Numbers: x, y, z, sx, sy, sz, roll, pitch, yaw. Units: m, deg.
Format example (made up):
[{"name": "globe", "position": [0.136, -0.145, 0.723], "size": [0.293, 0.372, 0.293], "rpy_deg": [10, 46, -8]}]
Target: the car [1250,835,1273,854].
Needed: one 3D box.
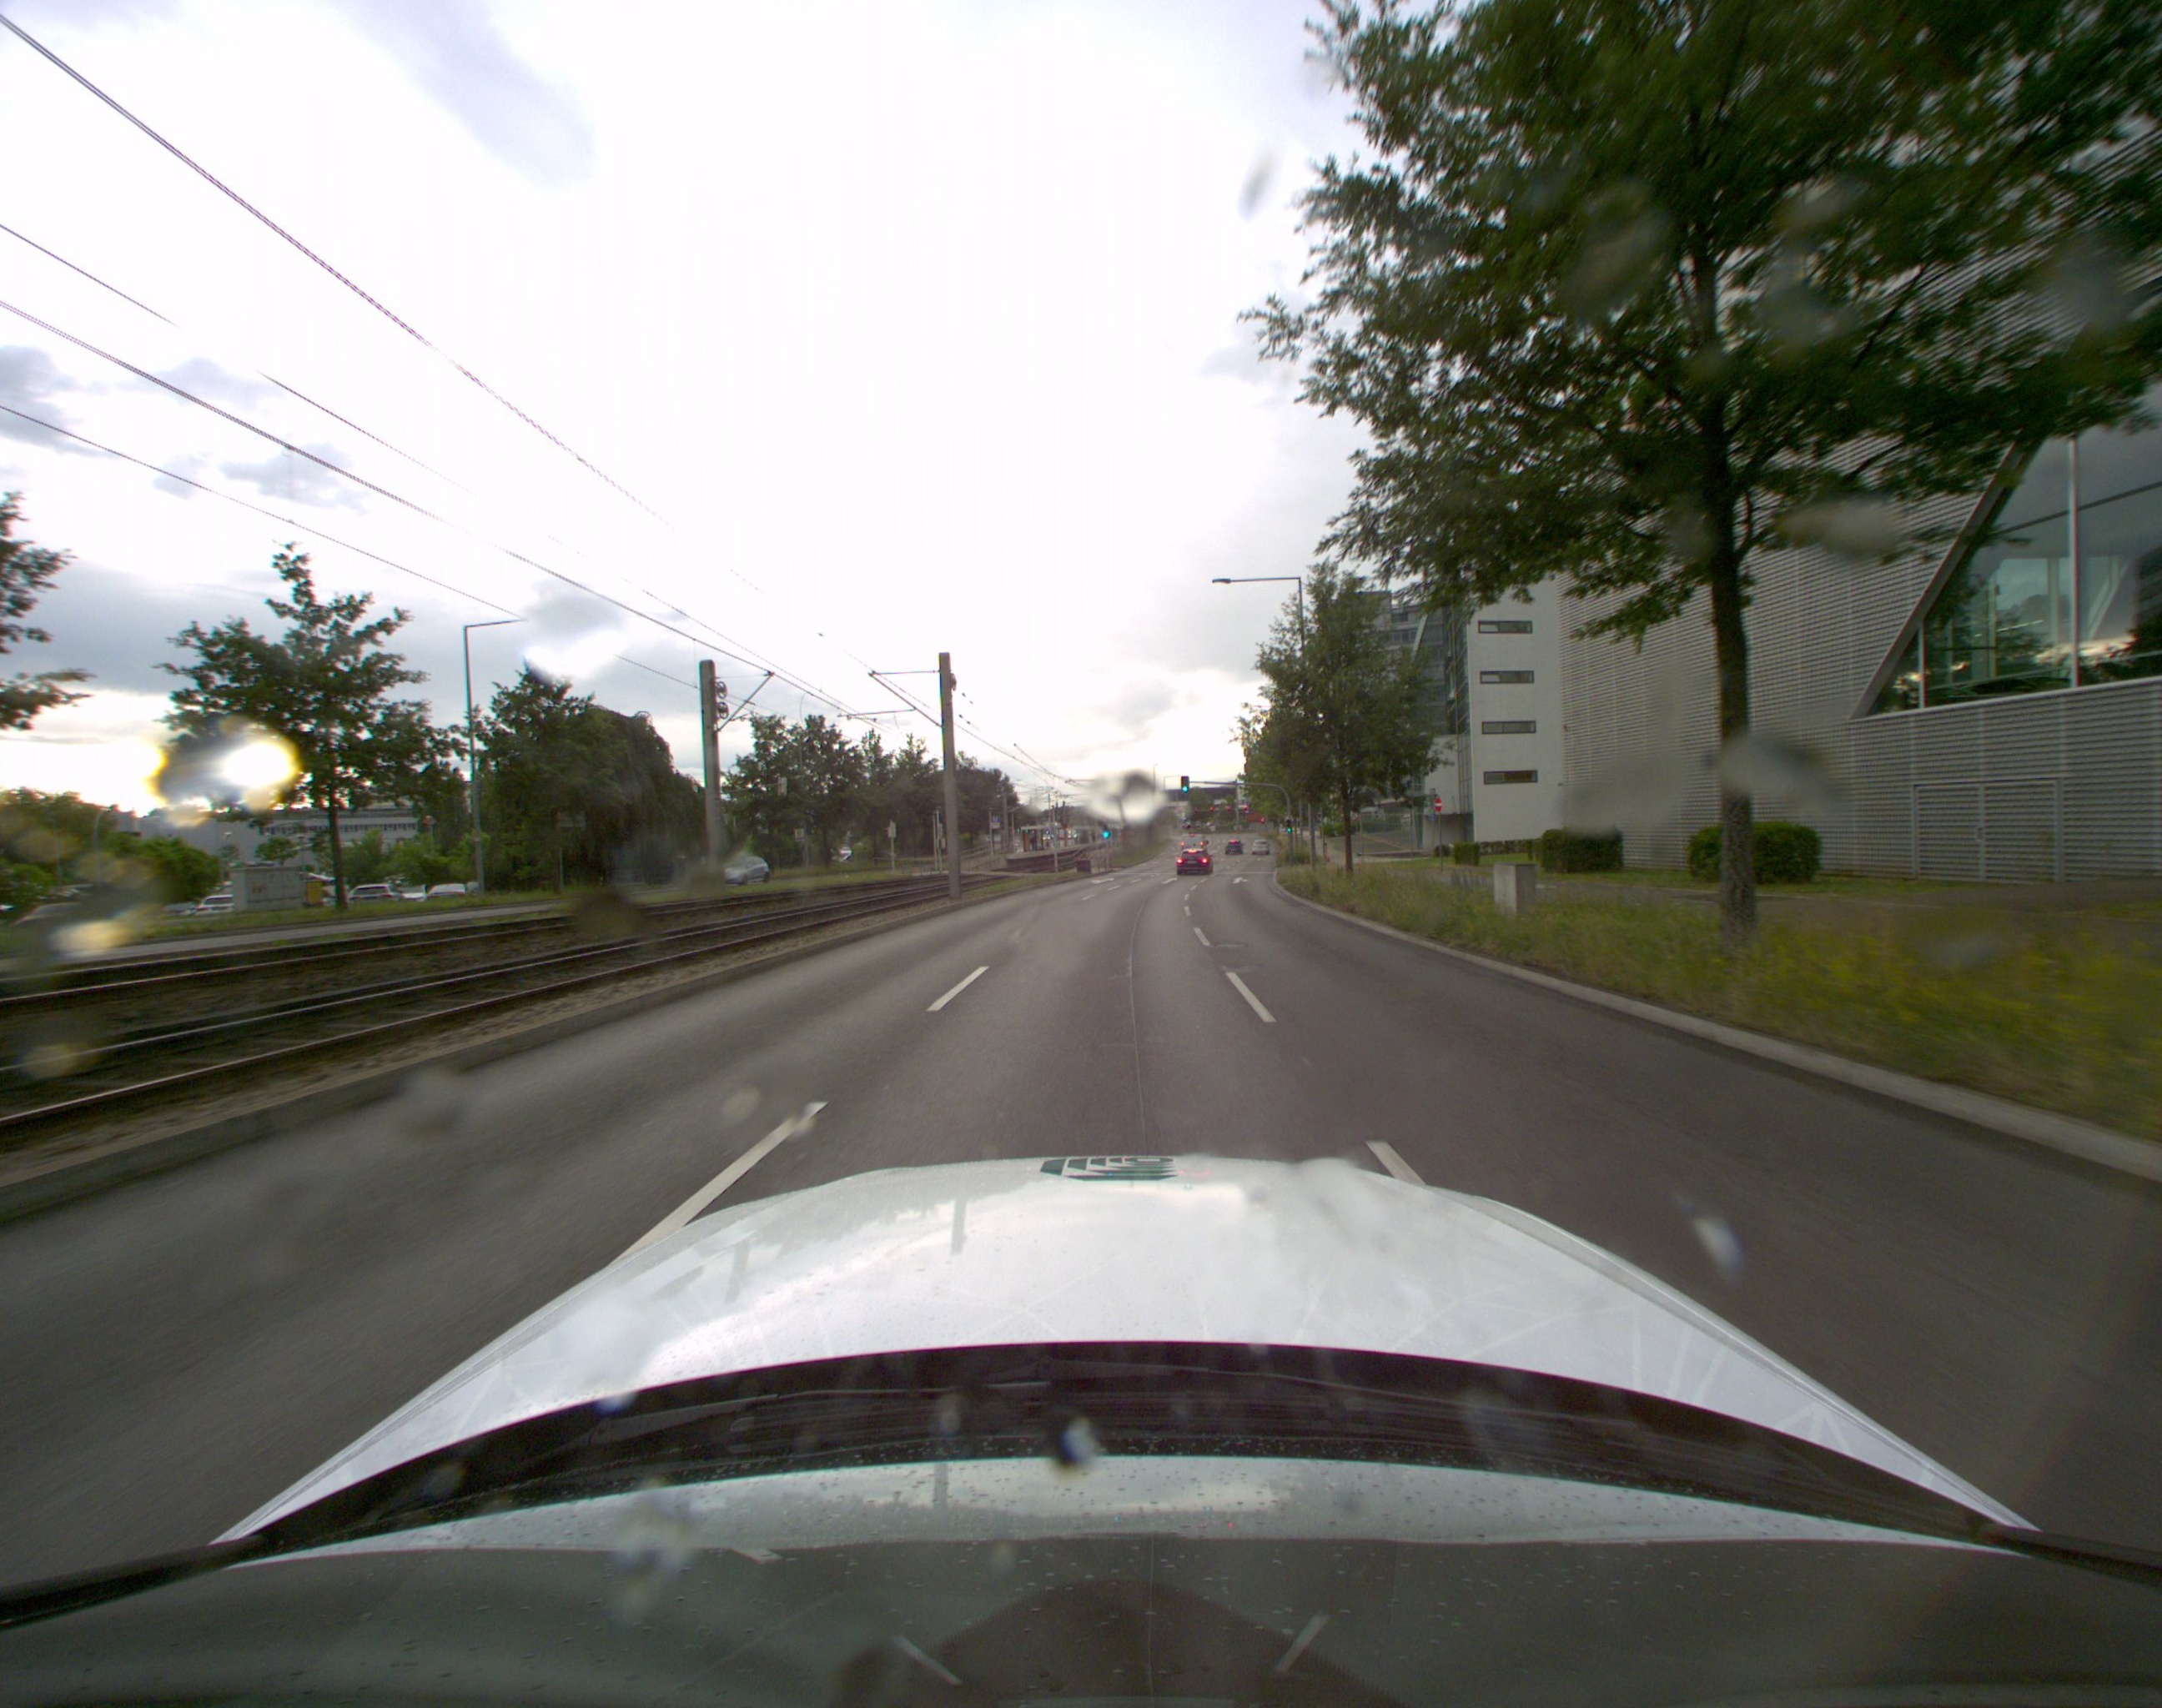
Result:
[{"name": "car", "position": [18.810, -1.025, 85.012], "size": [2.009, 1.769, 4.011], "rpy_deg": [-1, 2, 9]}]

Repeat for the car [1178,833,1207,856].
[{"name": "car", "position": [11.153, -1.006, 81.044], "size": [2.495, 2.176, 5.166], "rpy_deg": [-1, 1, 11]}]

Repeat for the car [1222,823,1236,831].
[{"name": "car", "position": [40.783, -7.474, 224.491], "size": [1.997, 2.014, 3.978], "rpy_deg": [-1, -1, -15]}]

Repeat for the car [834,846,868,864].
[{"name": "car", "position": [-25.920, 0.134, 91.892], "size": [1.980, 2.014, 4.013], "rpy_deg": [-1, -1, 12]}]

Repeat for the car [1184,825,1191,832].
[{"name": "car", "position": [32.482, -7.715, 248.199], "size": [1.810, 2.014, 3.474], "rpy_deg": [-1, -1, 4]}]

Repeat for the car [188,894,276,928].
[{"name": "car", "position": [-43.337, 2.870, 41.684], "size": [1.760, 1.494, 3.967], "rpy_deg": [0, -1, -24]}]

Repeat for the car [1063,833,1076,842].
[{"name": "car", "position": [-2.801, -4.041, 203.528], "size": [2.002, 2.014, 3.970], "rpy_deg": [0, -1, -22]}]

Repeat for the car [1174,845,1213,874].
[{"name": "car", "position": [6.450, 0.290, 46.317], "size": [1.752, 1.463, 4.643], "rpy_deg": [-2, 1, 13]}]

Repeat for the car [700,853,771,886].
[{"name": "car", "position": [-19.133, 0.807, 45.275], "size": [1.984, 1.679, 4.005], "rpy_deg": [-1, 0, 4]}]

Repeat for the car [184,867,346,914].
[{"name": "car", "position": [-30.567, 1.332, 30.708], "size": [1.986, 1.651, 4.001], "rpy_deg": [-1, -1, 2]}]

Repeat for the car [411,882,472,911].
[{"name": "car", "position": [-35.580, 2.328, 45.412], "size": [2.005, 1.510, 3.963], "rpy_deg": [0, -2, -29]}]

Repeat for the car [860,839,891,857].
[{"name": "car", "position": [-24.471, -0.727, 97.060], "size": [1.980, 2.013, 4.013], "rpy_deg": [-1, 0, 12]}]

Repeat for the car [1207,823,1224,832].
[{"name": "car", "position": [33.467, -6.637, 202.935], "size": [2.007, 2.013, 3.961], "rpy_deg": [0, 1, -31]}]

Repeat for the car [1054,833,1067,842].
[{"name": "car", "position": [-5.070, -4.035, 201.331], "size": [2.002, 2.014, 3.970], "rpy_deg": [0, -1, -22]}]

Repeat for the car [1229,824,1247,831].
[{"name": "car", "position": [37.356, -6.374, 193.641], "size": [2.035, 1.623, 3.960], "rpy_deg": [-2, 1, -31]}]

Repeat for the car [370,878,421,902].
[{"name": "car", "position": [-44.896, 2.326, 53.439], "size": [2.007, 1.510, 3.959], "rpy_deg": [0, -2, -32]}]

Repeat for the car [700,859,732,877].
[{"name": "car", "position": [-31.241, 1.212, 69.670], "size": [2.007, 1.415, 3.959], "rpy_deg": [0, -2, -32]}]

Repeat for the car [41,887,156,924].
[{"name": "car", "position": [-44.755, 2.324, 37.235], "size": [2.005, 1.510, 3.963], "rpy_deg": [0, -2, -29]}]

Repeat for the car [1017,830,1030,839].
[{"name": "car", "position": [-14.042, -4.643, 198.504], "size": [2.002, 2.014, 3.970], "rpy_deg": [0, -1, -22]}]

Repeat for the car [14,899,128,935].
[{"name": "car", "position": [-47.993, 2.963, 38.811], "size": [1.760, 1.494, 3.967], "rpy_deg": [0, -1, -24]}]

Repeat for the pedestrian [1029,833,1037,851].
[{"name": "pedestrian", "position": [-4.983, -1.225, 84.194], "size": [0.633, 1.854, 0.752], "rpy_deg": [-1, -2, 8]}]

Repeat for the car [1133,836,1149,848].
[{"name": "car", "position": [8.594, -1.771, 116.120], "size": [1.982, 1.452, 3.859], "rpy_deg": [-1, 4, 9]}]

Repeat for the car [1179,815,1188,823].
[{"name": "car", "position": [29.320, -10.069, 232.382], "size": [1.988, 2.014, 3.997], "rpy_deg": [-1, -1, -2]}]

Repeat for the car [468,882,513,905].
[{"name": "car", "position": [-40.772, 2.695, 56.284], "size": [2.005, 1.510, 3.963], "rpy_deg": [0, -2, -29]}]

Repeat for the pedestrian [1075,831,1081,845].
[{"name": "pedestrian", "position": [-0.472, -2.326, 118.206], "size": [0.684, 2.080, 0.717], "rpy_deg": [-1, 1, 14]}]

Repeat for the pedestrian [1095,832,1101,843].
[{"name": "pedestrian", "position": [2.746, -2.752, 132.629], "size": [0.748, 1.751, 0.766], "rpy_deg": [-1, -2, 9]}]

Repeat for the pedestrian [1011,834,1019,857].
[{"name": "pedestrian", "position": [-5.571, -0.693, 69.010], "size": [0.546, 1.953, 0.665], "rpy_deg": [-1, -2, 5]}]

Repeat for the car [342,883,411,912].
[{"name": "car", "position": [-38.619, 2.351, 44.737], "size": [1.760, 1.494, 3.967], "rpy_deg": [0, -1, -24]}]

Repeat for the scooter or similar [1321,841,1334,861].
[{"name": "scooter or similar", "position": [16.144, -0.191, 53.387], "size": [0.455, 1.263, 1.339], "rpy_deg": [-4, 0, 6]}]

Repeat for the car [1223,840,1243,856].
[{"name": "car", "position": [16.119, -0.622, 86.487], "size": [2.009, 1.623, 4.010], "rpy_deg": [-1, -1, 10]}]
